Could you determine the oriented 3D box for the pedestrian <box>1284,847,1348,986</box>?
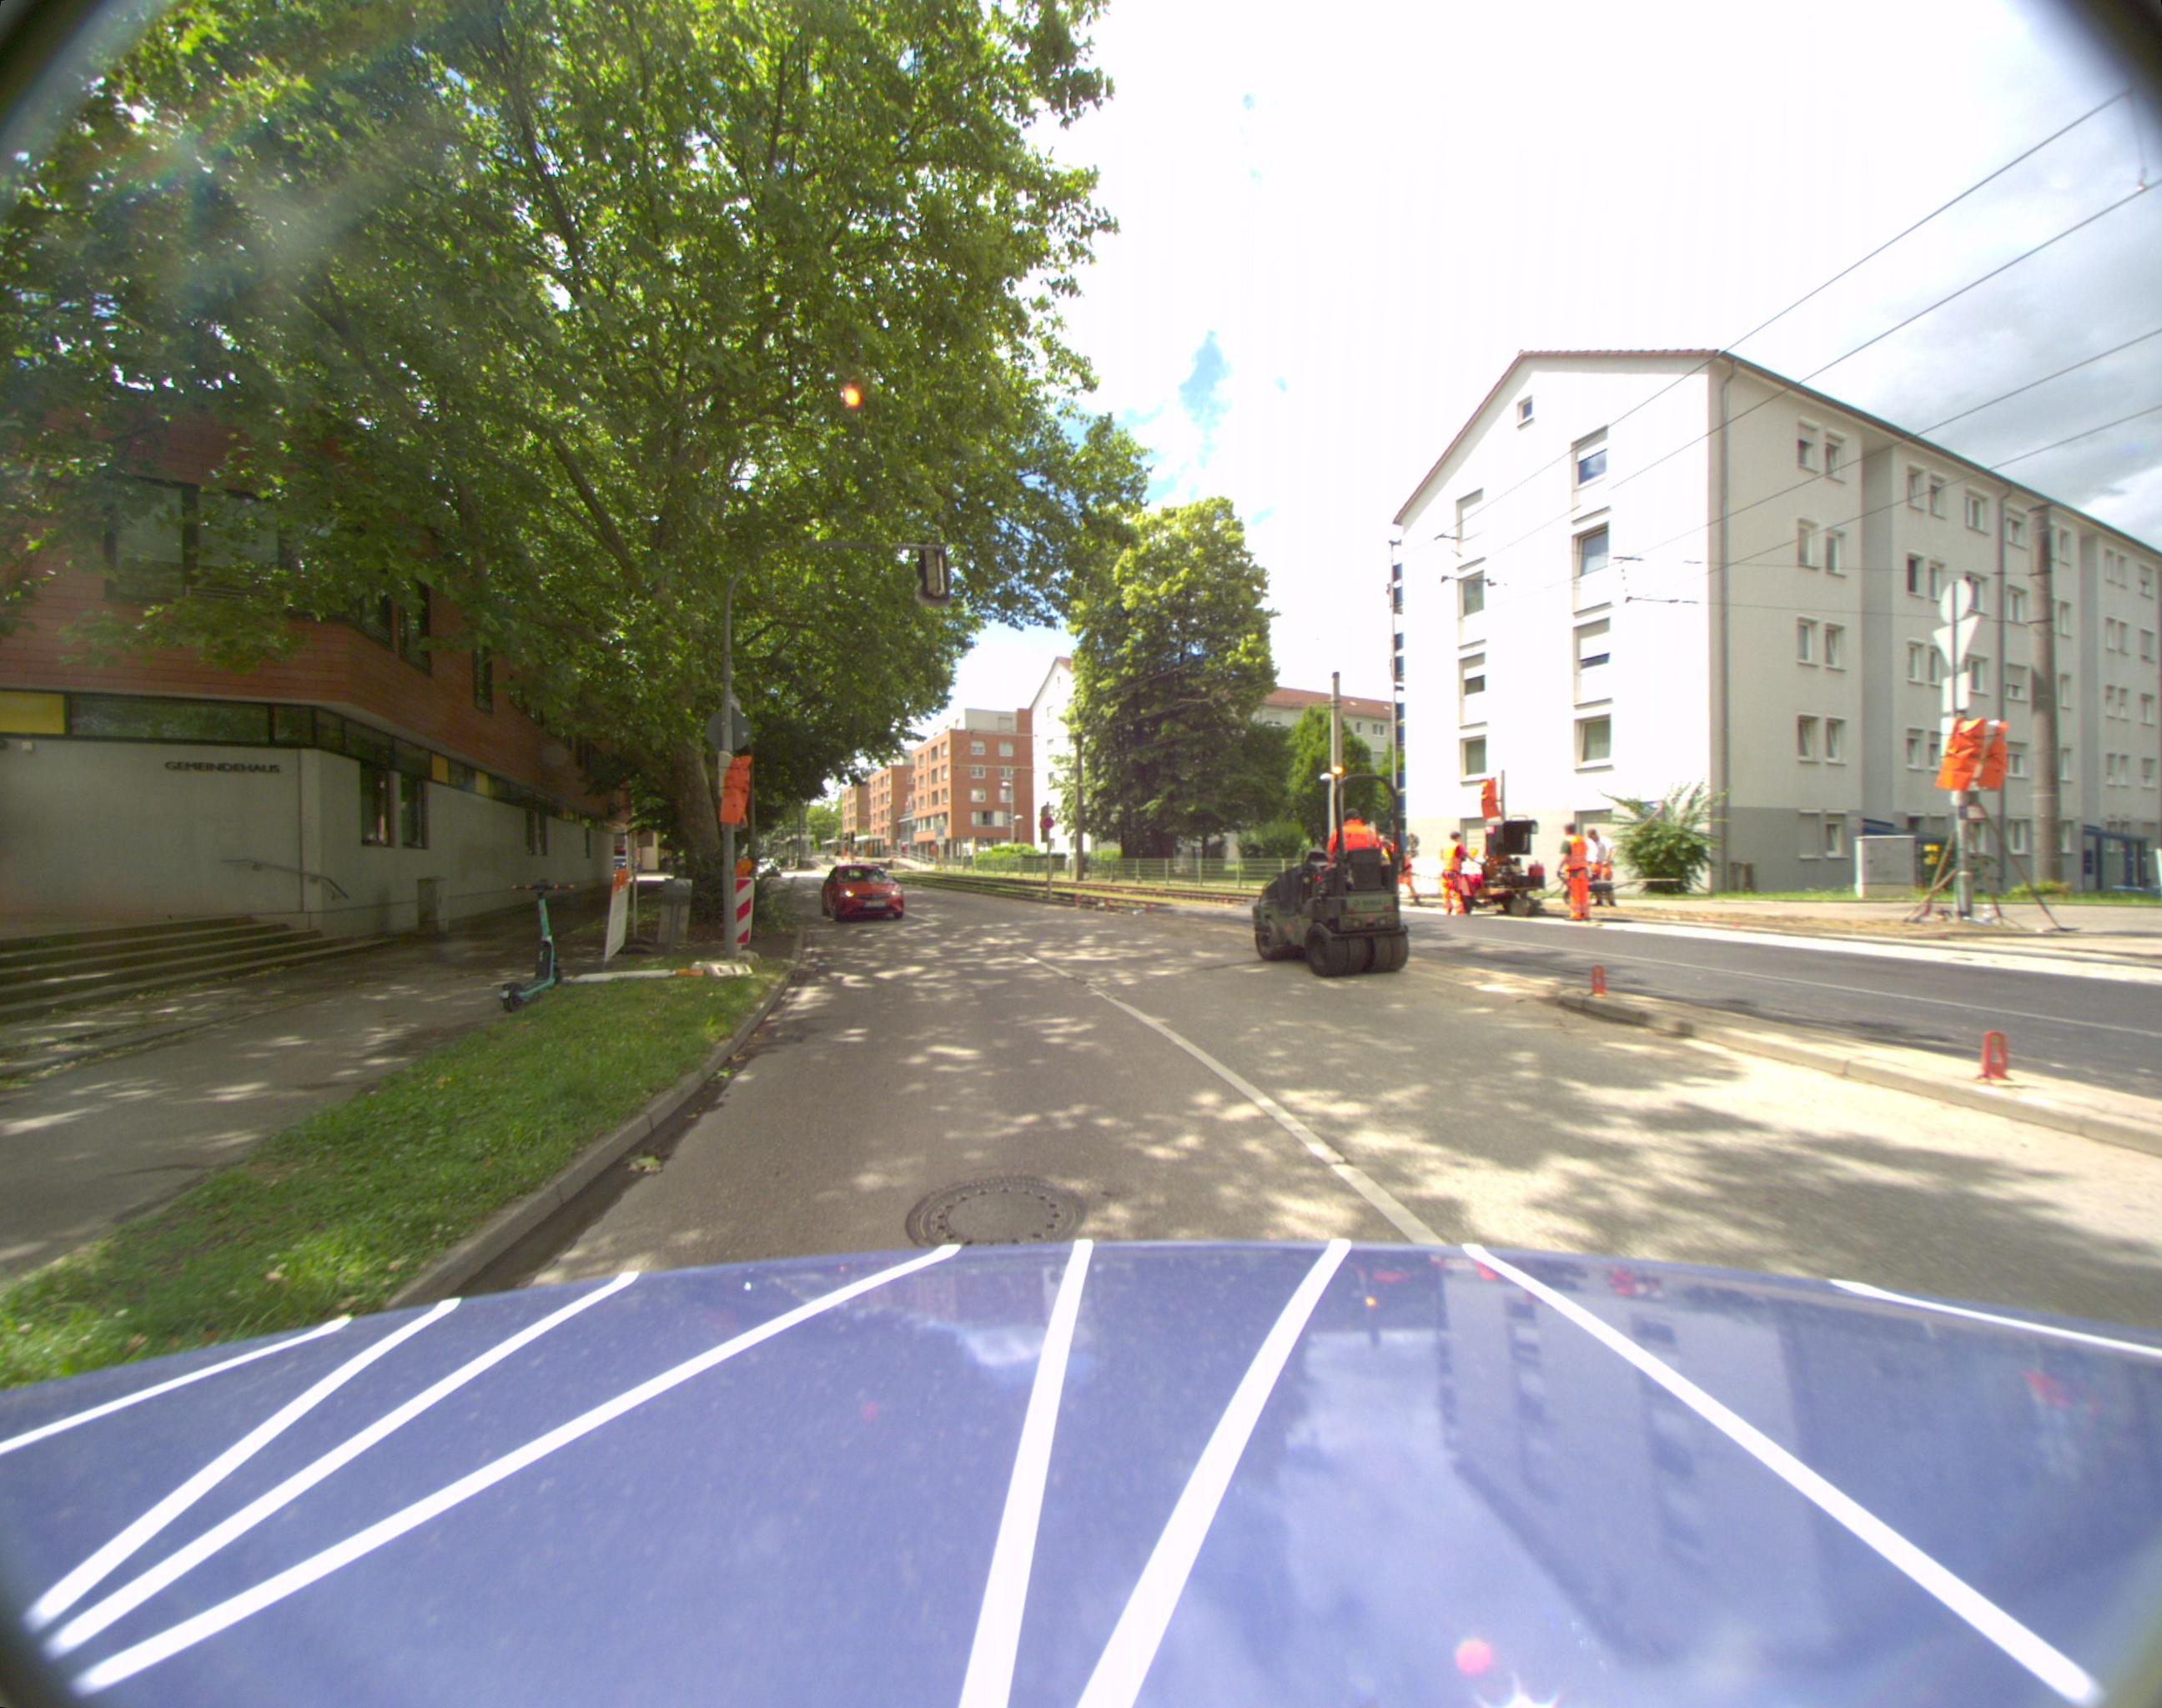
[{"bbox_3d":[2.967,0.766,9.627,0.471,1.672,0.558,-3,1,-22],"label":"pedestrian"}]

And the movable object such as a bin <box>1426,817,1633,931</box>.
[{"bbox_3d":[8.713,0.353,15.010,2.001,2.002,2.964,0,0,-16],"label":"movable object such as a bin"}]

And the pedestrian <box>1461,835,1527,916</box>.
[{"bbox_3d":[9.120,0.466,16.805,0.860,1.706,0.918,-1,0,-14],"label":"pedestrian"}]

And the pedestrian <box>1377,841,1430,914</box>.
[{"bbox_3d":[7.862,0.561,18.549,0.754,1.706,0.917,-1,0,-19],"label":"pedestrian"}]

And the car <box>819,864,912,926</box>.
[{"bbox_3d":[-5.919,1.034,20.581,1.773,1.425,3.831,-2,0,-25],"label":"car"}]

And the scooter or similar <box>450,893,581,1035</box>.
[{"bbox_3d":[-5.544,1.031,7.524,0.566,1.225,1.193,0,0,-11],"label":"scooter or similar"}]

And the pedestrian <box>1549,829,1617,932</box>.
[{"bbox_3d":[9.233,0.466,13.988,0.785,1.828,0.767,-1,0,-27],"label":"pedestrian"}]

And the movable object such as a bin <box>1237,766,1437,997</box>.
[{"bbox_3d":[3.164,0.294,9.770,1.321,2.578,2.359,-2,0,-14],"label":"movable object such as a bin"}]

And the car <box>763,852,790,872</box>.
[{"bbox_3d":[-23.792,0.613,59.255,1.773,1.405,4.229,-2,1,-24],"label":"car"}]

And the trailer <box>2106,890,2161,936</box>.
[{"bbox_3d":[15.348,0.836,10.279,0.797,0.612,1.597,0,0,-1],"label":"trailer"}]

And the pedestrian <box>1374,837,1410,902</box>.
[{"bbox_3d":[9.312,0.442,22.727,0.878,1.897,0.668,-1,1,31],"label":"pedestrian"}]

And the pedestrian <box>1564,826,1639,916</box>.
[{"bbox_3d":[10.975,0.344,16.025,1.097,1.813,0.872,-1,0,-25],"label":"pedestrian"}]

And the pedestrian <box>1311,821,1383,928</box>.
[{"bbox_3d":[3.121,0.231,8.947,0.551,1.209,0.617,-1,0,-14],"label":"pedestrian"}]

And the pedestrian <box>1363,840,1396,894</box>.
[{"bbox_3d":[9.431,0.402,24.035,0.879,1.673,0.668,-1,1,17],"label":"pedestrian"}]
